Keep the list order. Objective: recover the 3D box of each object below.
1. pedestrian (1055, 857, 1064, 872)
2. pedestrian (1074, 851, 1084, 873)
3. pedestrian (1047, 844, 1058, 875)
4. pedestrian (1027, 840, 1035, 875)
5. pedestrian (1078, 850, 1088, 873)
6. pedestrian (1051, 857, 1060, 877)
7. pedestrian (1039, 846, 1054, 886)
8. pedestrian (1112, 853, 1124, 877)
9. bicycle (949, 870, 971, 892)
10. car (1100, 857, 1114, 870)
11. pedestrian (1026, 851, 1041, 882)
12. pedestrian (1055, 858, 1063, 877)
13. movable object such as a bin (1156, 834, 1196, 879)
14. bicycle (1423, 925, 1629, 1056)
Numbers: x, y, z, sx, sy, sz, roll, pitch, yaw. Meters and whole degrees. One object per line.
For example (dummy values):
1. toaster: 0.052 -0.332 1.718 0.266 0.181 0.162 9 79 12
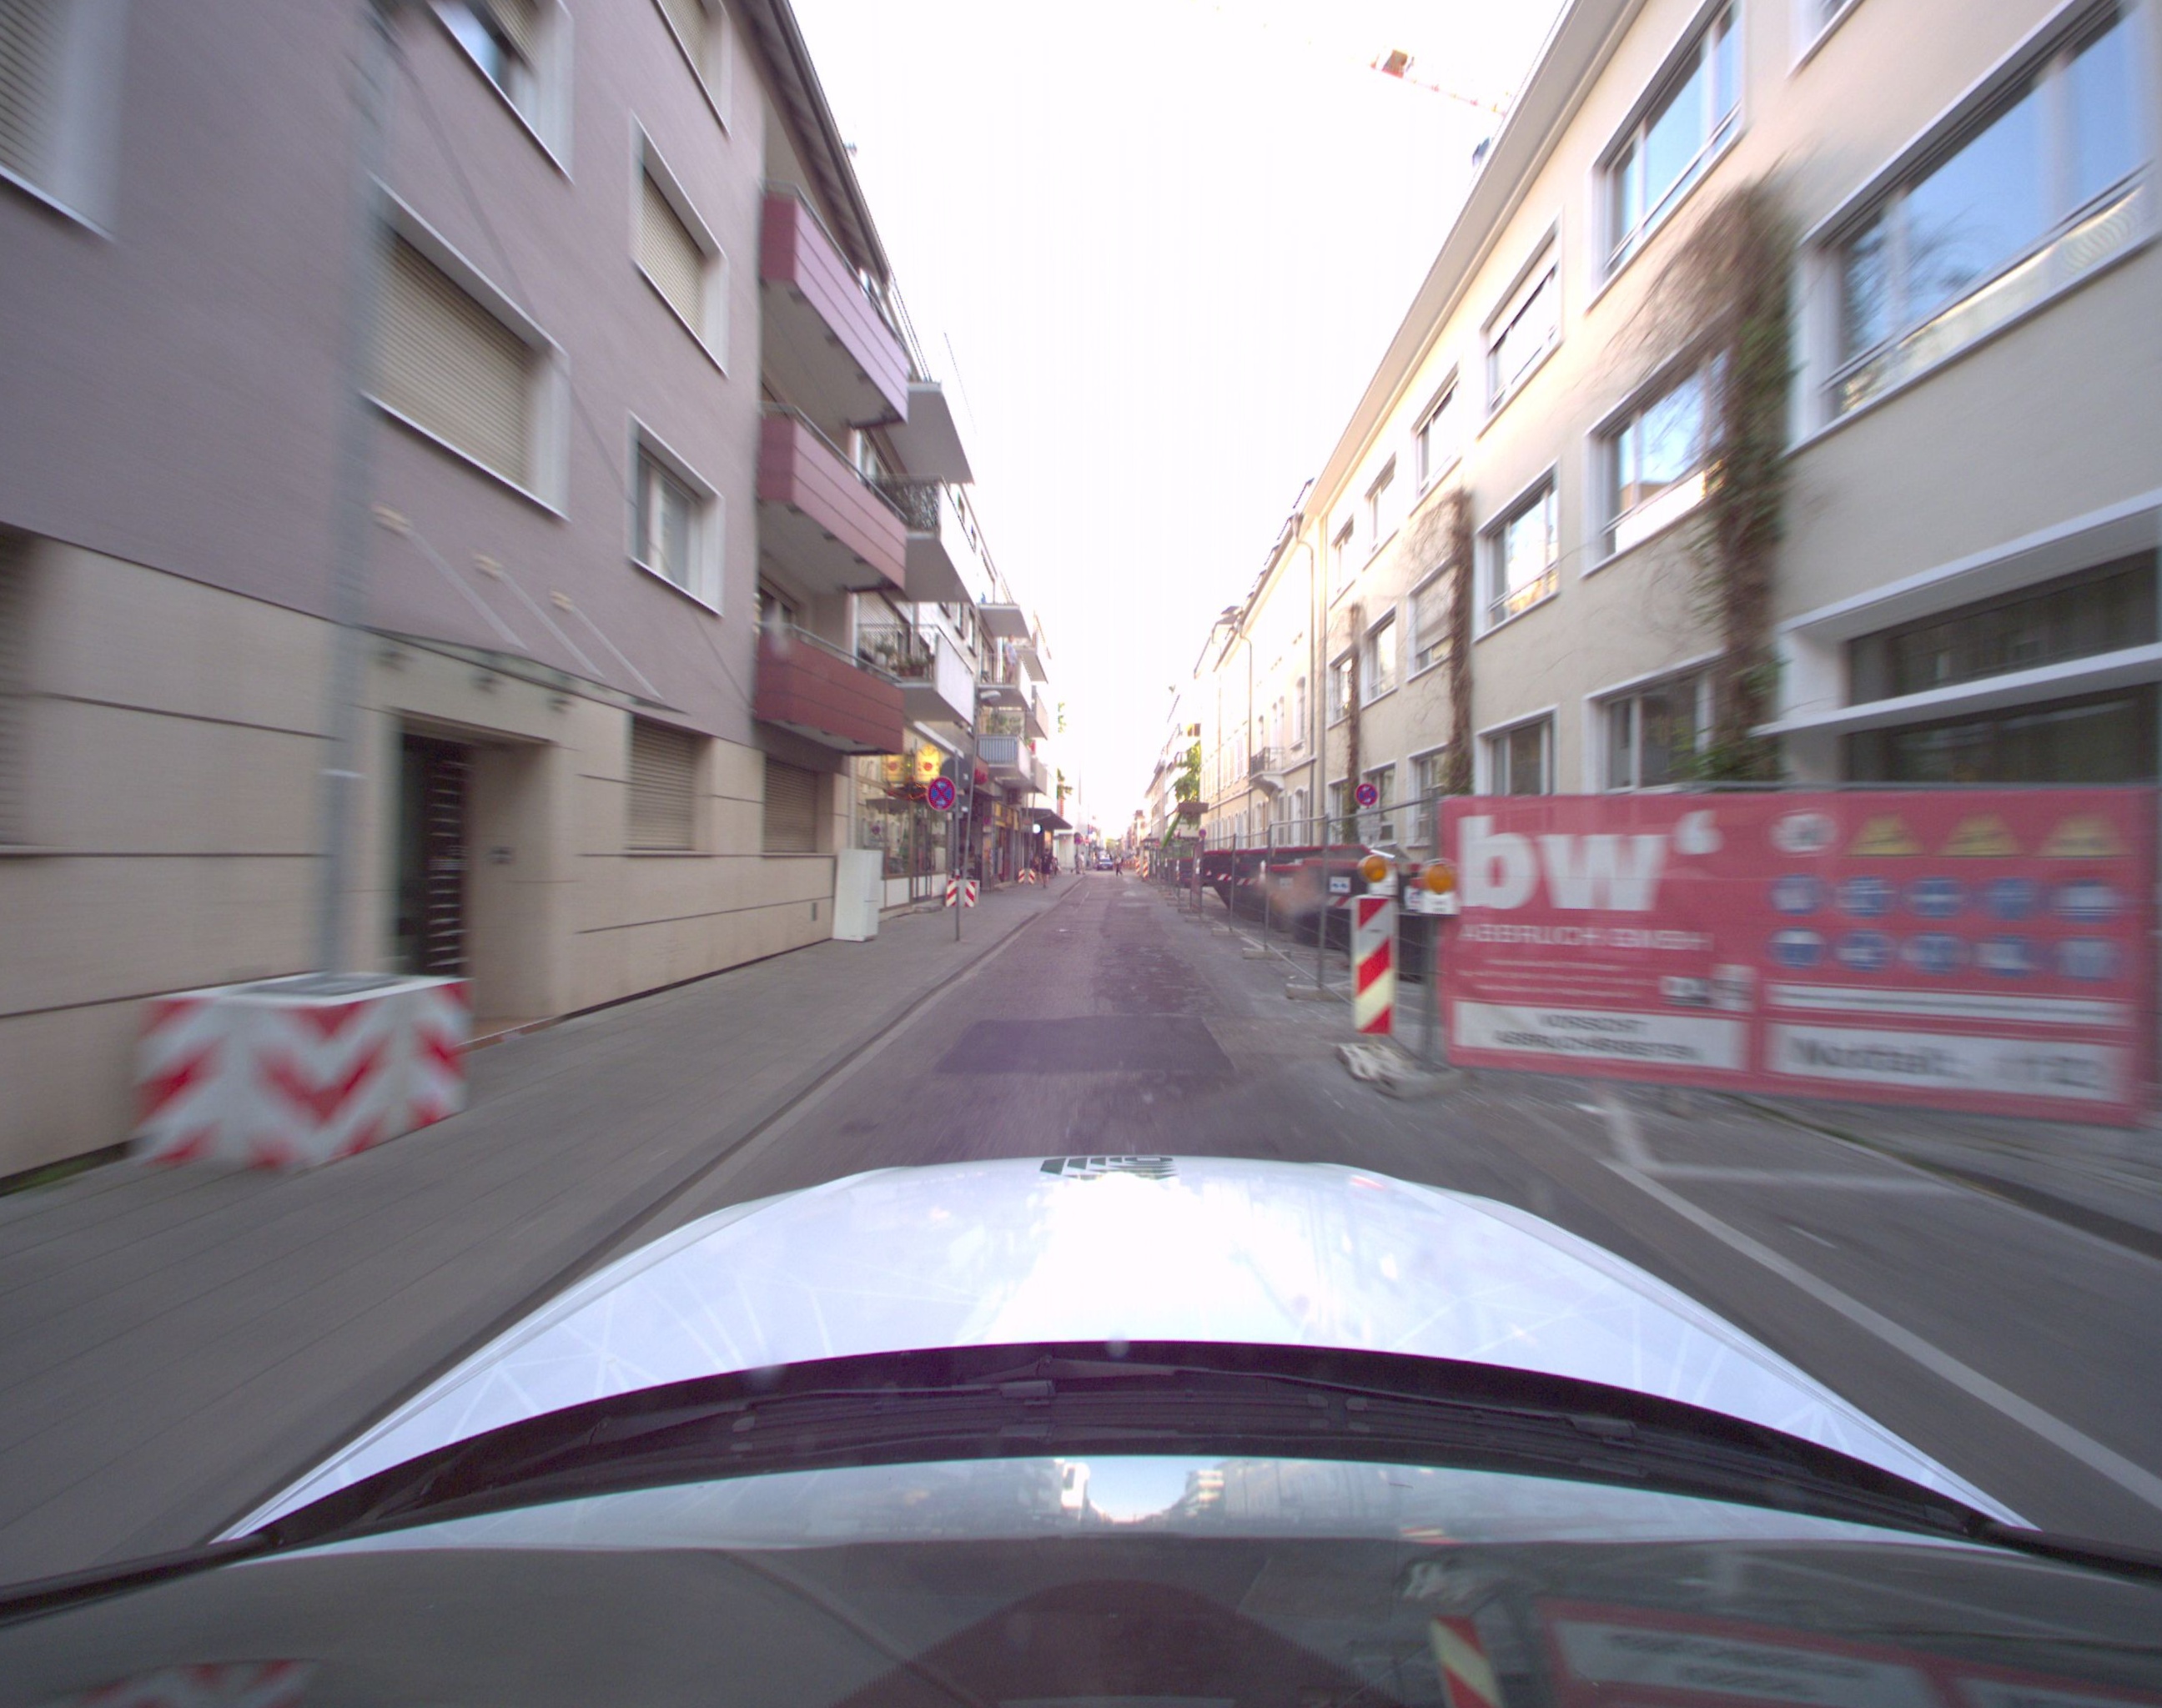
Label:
1. pedestrian: -1.649 0.782 61.546 0.616 1.172 0.788 0 0 1
2. pedestrian: -0.179 0.629 66.019 0.646 1.809 0.628 0 0 -14
3. pedestrian: -1.761 0.338 50.483 0.570 1.886 0.656 0 0 2
4. pedestrian: -2.910 0.186 47.343 0.409 2.014 0.454 0 0 -1
5. pedestrian: 0.145 0.617 65.089 0.646 1.809 0.628 0 0 -14
6. pedestrian: -1.800 0.934 57.481 0.556 1.391 0.893 0 0 2
7. pedestrian: -1.570 0.564 37.339 0.626 1.808 0.648 0 0 3
8. pedestrian: 2.652 0.784 58.205 0.648 1.740 0.716 0 0 -25
9. bicycle: -4.634 1.016 31.177 0.520 0.761 1.748 0 0 2
10. car: 2.935 1.004 90.993 1.468 1.398 3.334 0 0 2
11. pedestrian: -2.375 0.638 40.972 0.646 1.565 0.628 0 0 -13
12. pedestrian: -1.568 0.948 58.483 0.540 1.387 0.626 0 0 2
13. movable object such as a bin: 6.884 0.148 59.421 2.461 3.130 4.300 1 1 2
14. bicycle: 3.731 1.116 6.903 1.472 0.897 0.399 1 0 30
